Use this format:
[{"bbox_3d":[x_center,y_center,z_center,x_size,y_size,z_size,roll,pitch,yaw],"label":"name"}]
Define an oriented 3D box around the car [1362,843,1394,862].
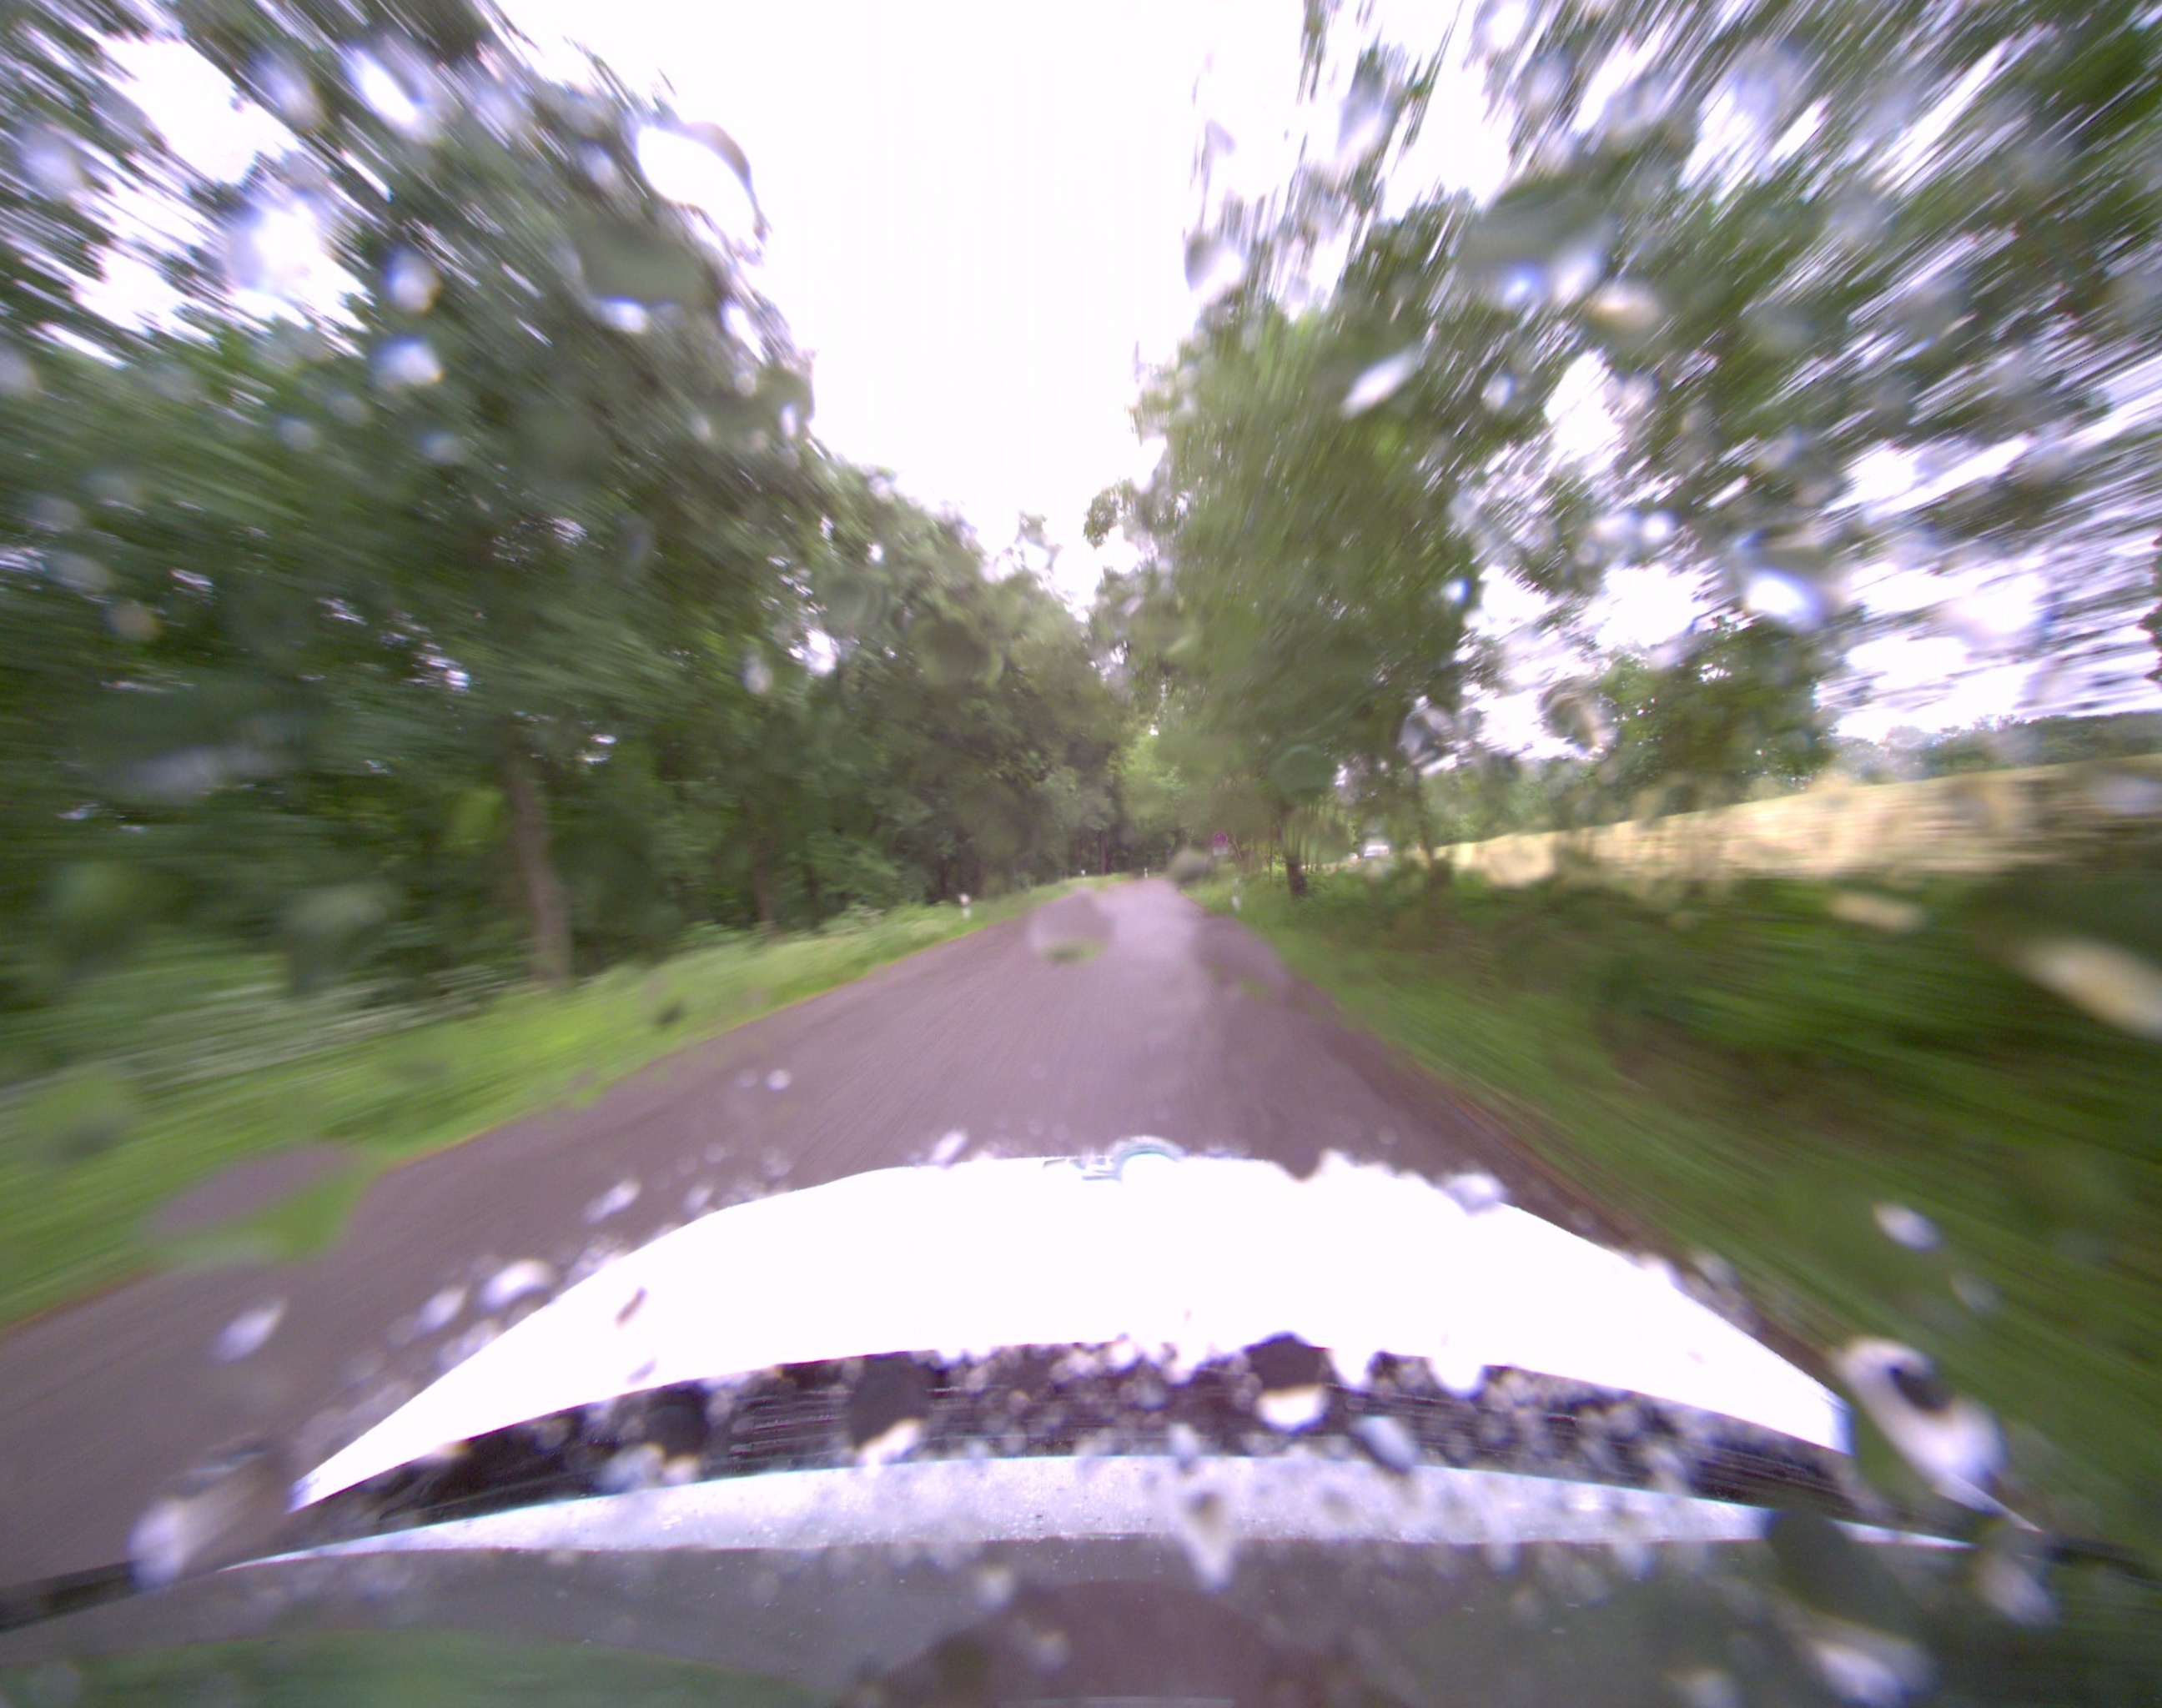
[{"bbox_3d":[48.887,-0.238,133.958,6.084,2.697,2.252,-4,-1,-44],"label":"car"}]
